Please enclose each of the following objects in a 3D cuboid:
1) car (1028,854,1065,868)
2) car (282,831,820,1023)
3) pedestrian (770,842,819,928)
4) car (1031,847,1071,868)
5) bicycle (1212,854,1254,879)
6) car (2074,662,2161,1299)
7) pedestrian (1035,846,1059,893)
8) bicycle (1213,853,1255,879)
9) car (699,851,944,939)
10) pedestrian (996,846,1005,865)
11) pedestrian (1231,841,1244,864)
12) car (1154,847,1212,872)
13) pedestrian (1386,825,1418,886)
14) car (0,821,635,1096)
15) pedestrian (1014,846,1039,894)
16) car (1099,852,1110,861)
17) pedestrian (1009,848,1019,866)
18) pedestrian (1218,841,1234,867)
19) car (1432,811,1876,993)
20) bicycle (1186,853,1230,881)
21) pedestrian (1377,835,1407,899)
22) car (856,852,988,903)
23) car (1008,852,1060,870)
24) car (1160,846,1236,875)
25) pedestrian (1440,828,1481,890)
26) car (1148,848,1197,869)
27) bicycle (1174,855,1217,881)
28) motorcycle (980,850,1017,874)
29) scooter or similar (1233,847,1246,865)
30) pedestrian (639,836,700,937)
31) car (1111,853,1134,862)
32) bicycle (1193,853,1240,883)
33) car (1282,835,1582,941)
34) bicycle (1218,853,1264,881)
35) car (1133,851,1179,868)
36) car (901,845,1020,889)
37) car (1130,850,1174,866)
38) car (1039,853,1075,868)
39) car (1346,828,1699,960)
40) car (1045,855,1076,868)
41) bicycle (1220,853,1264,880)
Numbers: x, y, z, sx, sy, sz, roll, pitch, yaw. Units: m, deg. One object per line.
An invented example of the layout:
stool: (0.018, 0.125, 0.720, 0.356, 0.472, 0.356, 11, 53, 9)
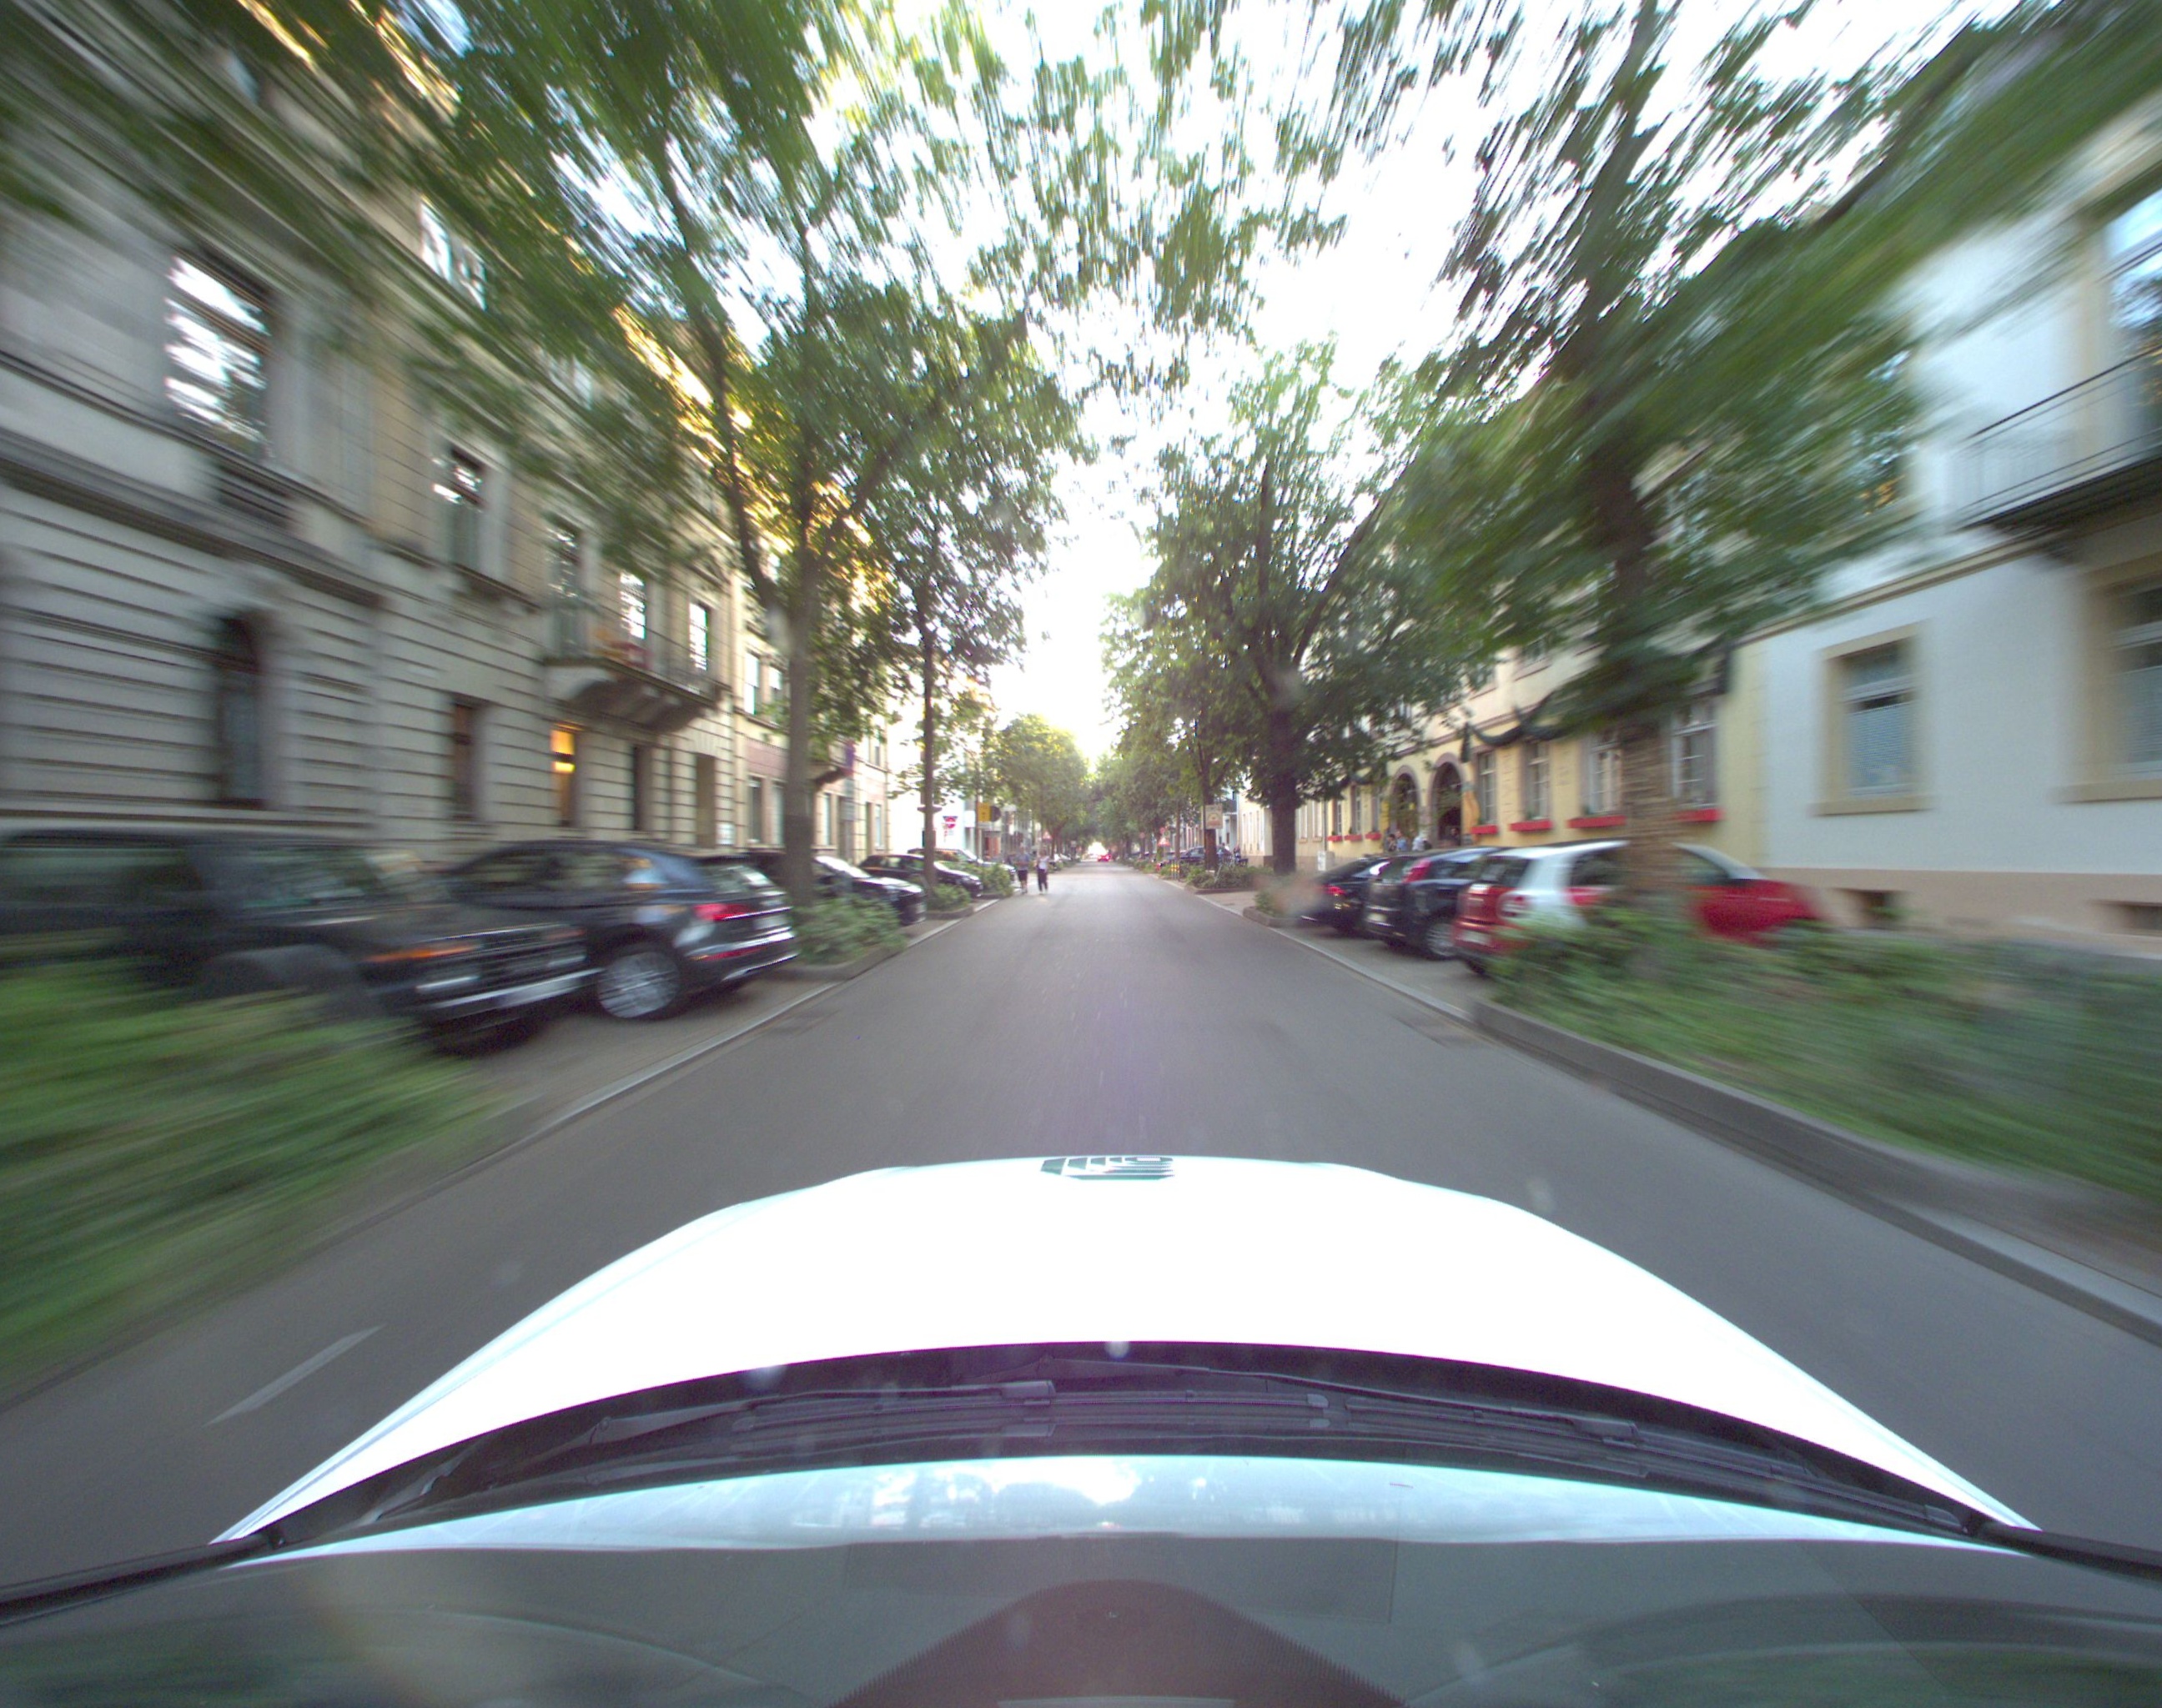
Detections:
car: (-3.775, 0.780, 88.438, 3.855, 1.486, 1.758, 0, 0, 2)
car: (-5.085, 0.647, 8.284, 4.186, 1.672, 1.908, 1, 1, 1)
pedestrian: (-5.991, 0.633, 17.036, 0.730, 1.739, 0.672, 0, 0, 7)
car: (-3.526, 0.401, 96.730, 4.666, 2.478, 2.000, -1, -1, 0)
bicycle: (6.988, 0.574, 37.530, 1.791, 1.107, 0.499, -2, 0, -5)
car: (5.694, 0.240, 1.698, 4.674, 2.011, 2.037, -4, 0, 0)
pedestrian: (-1.231, 0.571, 29.722, 0.792, 1.670, 0.831, -2, 0, 0)
bicycle: (7.176, 0.551, 38.214, 1.793, 1.143, 0.667, -2, 0, -9)
car: (-4.688, 0.722, 15.190, 3.932, 1.532, 1.907, 0, 0, 0)
pedestrian: (-7.449, 0.179, 75.194, 0.700, 1.728, 0.905, -1, -1, 1)
pedestrian: (10.483, -0.080, 54.612, 0.652, 1.536, 0.831, -2, 0, 2)
car: (6.597, 0.373, 52.862, 3.473, 1.452, 1.898, -2, 0, -1)
pedestrian: (9.336, 0.031, 23.717, 0.613, 1.738, 0.624, -3, 1, 1)
car: (-5.604, 0.634, 5.876, 3.789, 1.672, 1.714, 1, 1, -1)
pedestrian: (-2.008, 0.582, 30.150, 0.792, 1.737, 0.831, -2, 0, 0)
car: (4.360, 0.537, 149.016, 1.949, 1.565, 4.283, -3, -1, 1)
pedestrian: (-6.456, 0.264, 78.292, 0.697, 1.757, 0.744, -1, -1, 25)
pedestrian: (9.645, 0.008, 54.123, 0.694, 1.737, 0.667, -2, 0, -31)
car: (6.173, 0.490, 9.113, 3.667, 1.578, 1.715, -4, 0, 1)
bicycle: (5.713, 0.594, 36.644, 1.824, 1.178, 0.600, -2, 0, 0)
pedestrian: (8.763, 0.358, 22.928, 0.705, 1.738, 0.751, -3, 1, 21)
car: (-4.827, 0.683, 25.121, 3.680, 1.458, 1.873, 1, 1, 0)
car: (-3.871, 0.550, 67.521, 4.114, 1.486, 1.929, 0, 0, 0)
car: (7.068, 0.380, 49.580, 4.408, 1.656, 1.900, -2, 0, 2)
pedestrian: (11.022, 0.133, 23.651, 0.778, 1.738, 0.681, -3, 1, -15)
car: (6.863, 0.330, 61.358, 3.473, 1.452, 1.898, -2, 0, -1)
bicycle: (5.320, 0.628, 37.975, 1.837, 1.135, 0.742, -2, 0, -10)
motorcycle: (-5.217, 0.519, 51.633, 2.214, 1.481, 0.854, -1, 1, -18)
scooter or similar: (10.465, 0.108, 53.836, 0.652, 1.153, 0.831, -2, 0, 2)
pedestrian: (-7.222, 0.556, 14.325, 0.666, 1.739, 0.737, 0, 0, 3)
car: (8.114, 0.681, 159.615, 4.253, 1.565, 1.963, -3, -1, 0)
bicycle: (5.711, 0.597, 34.440, 1.824, 1.178, 0.673, -2, 0, 0)
car: (5.974, 0.548, 14.235, 4.388, 1.393, 1.884, -4, 0, -2)
bicycle: (6.929, 0.573, 35.342, 1.791, 1.128, 0.663, -2, 0, -5)
car: (6.820, 0.487, 74.256, 3.867, 1.440, 1.846, -2, 0, -3)
car: (-4.740, 0.505, 32.530, 4.409, 1.651, 1.873, 1, 1, 1)
car: (7.665, 0.442, 88.167, 4.699, 1.710, 1.951, -1, 0, 2)
car: (-3.210, 0.888, 109.166, 4.666, 1.854, 1.963, -3, -1, 0)
car: (6.159, 0.529, 11.734, 3.975, 1.437, 1.926, -4, 0, -1)
car: (-2.931, 1.106, 116.886, 4.188, 1.635, 1.963, -3, -1, 0)
bicycle: (7.134, 0.554, 36.158, 1.793, 1.143, 0.650, -2, 0, -8)
